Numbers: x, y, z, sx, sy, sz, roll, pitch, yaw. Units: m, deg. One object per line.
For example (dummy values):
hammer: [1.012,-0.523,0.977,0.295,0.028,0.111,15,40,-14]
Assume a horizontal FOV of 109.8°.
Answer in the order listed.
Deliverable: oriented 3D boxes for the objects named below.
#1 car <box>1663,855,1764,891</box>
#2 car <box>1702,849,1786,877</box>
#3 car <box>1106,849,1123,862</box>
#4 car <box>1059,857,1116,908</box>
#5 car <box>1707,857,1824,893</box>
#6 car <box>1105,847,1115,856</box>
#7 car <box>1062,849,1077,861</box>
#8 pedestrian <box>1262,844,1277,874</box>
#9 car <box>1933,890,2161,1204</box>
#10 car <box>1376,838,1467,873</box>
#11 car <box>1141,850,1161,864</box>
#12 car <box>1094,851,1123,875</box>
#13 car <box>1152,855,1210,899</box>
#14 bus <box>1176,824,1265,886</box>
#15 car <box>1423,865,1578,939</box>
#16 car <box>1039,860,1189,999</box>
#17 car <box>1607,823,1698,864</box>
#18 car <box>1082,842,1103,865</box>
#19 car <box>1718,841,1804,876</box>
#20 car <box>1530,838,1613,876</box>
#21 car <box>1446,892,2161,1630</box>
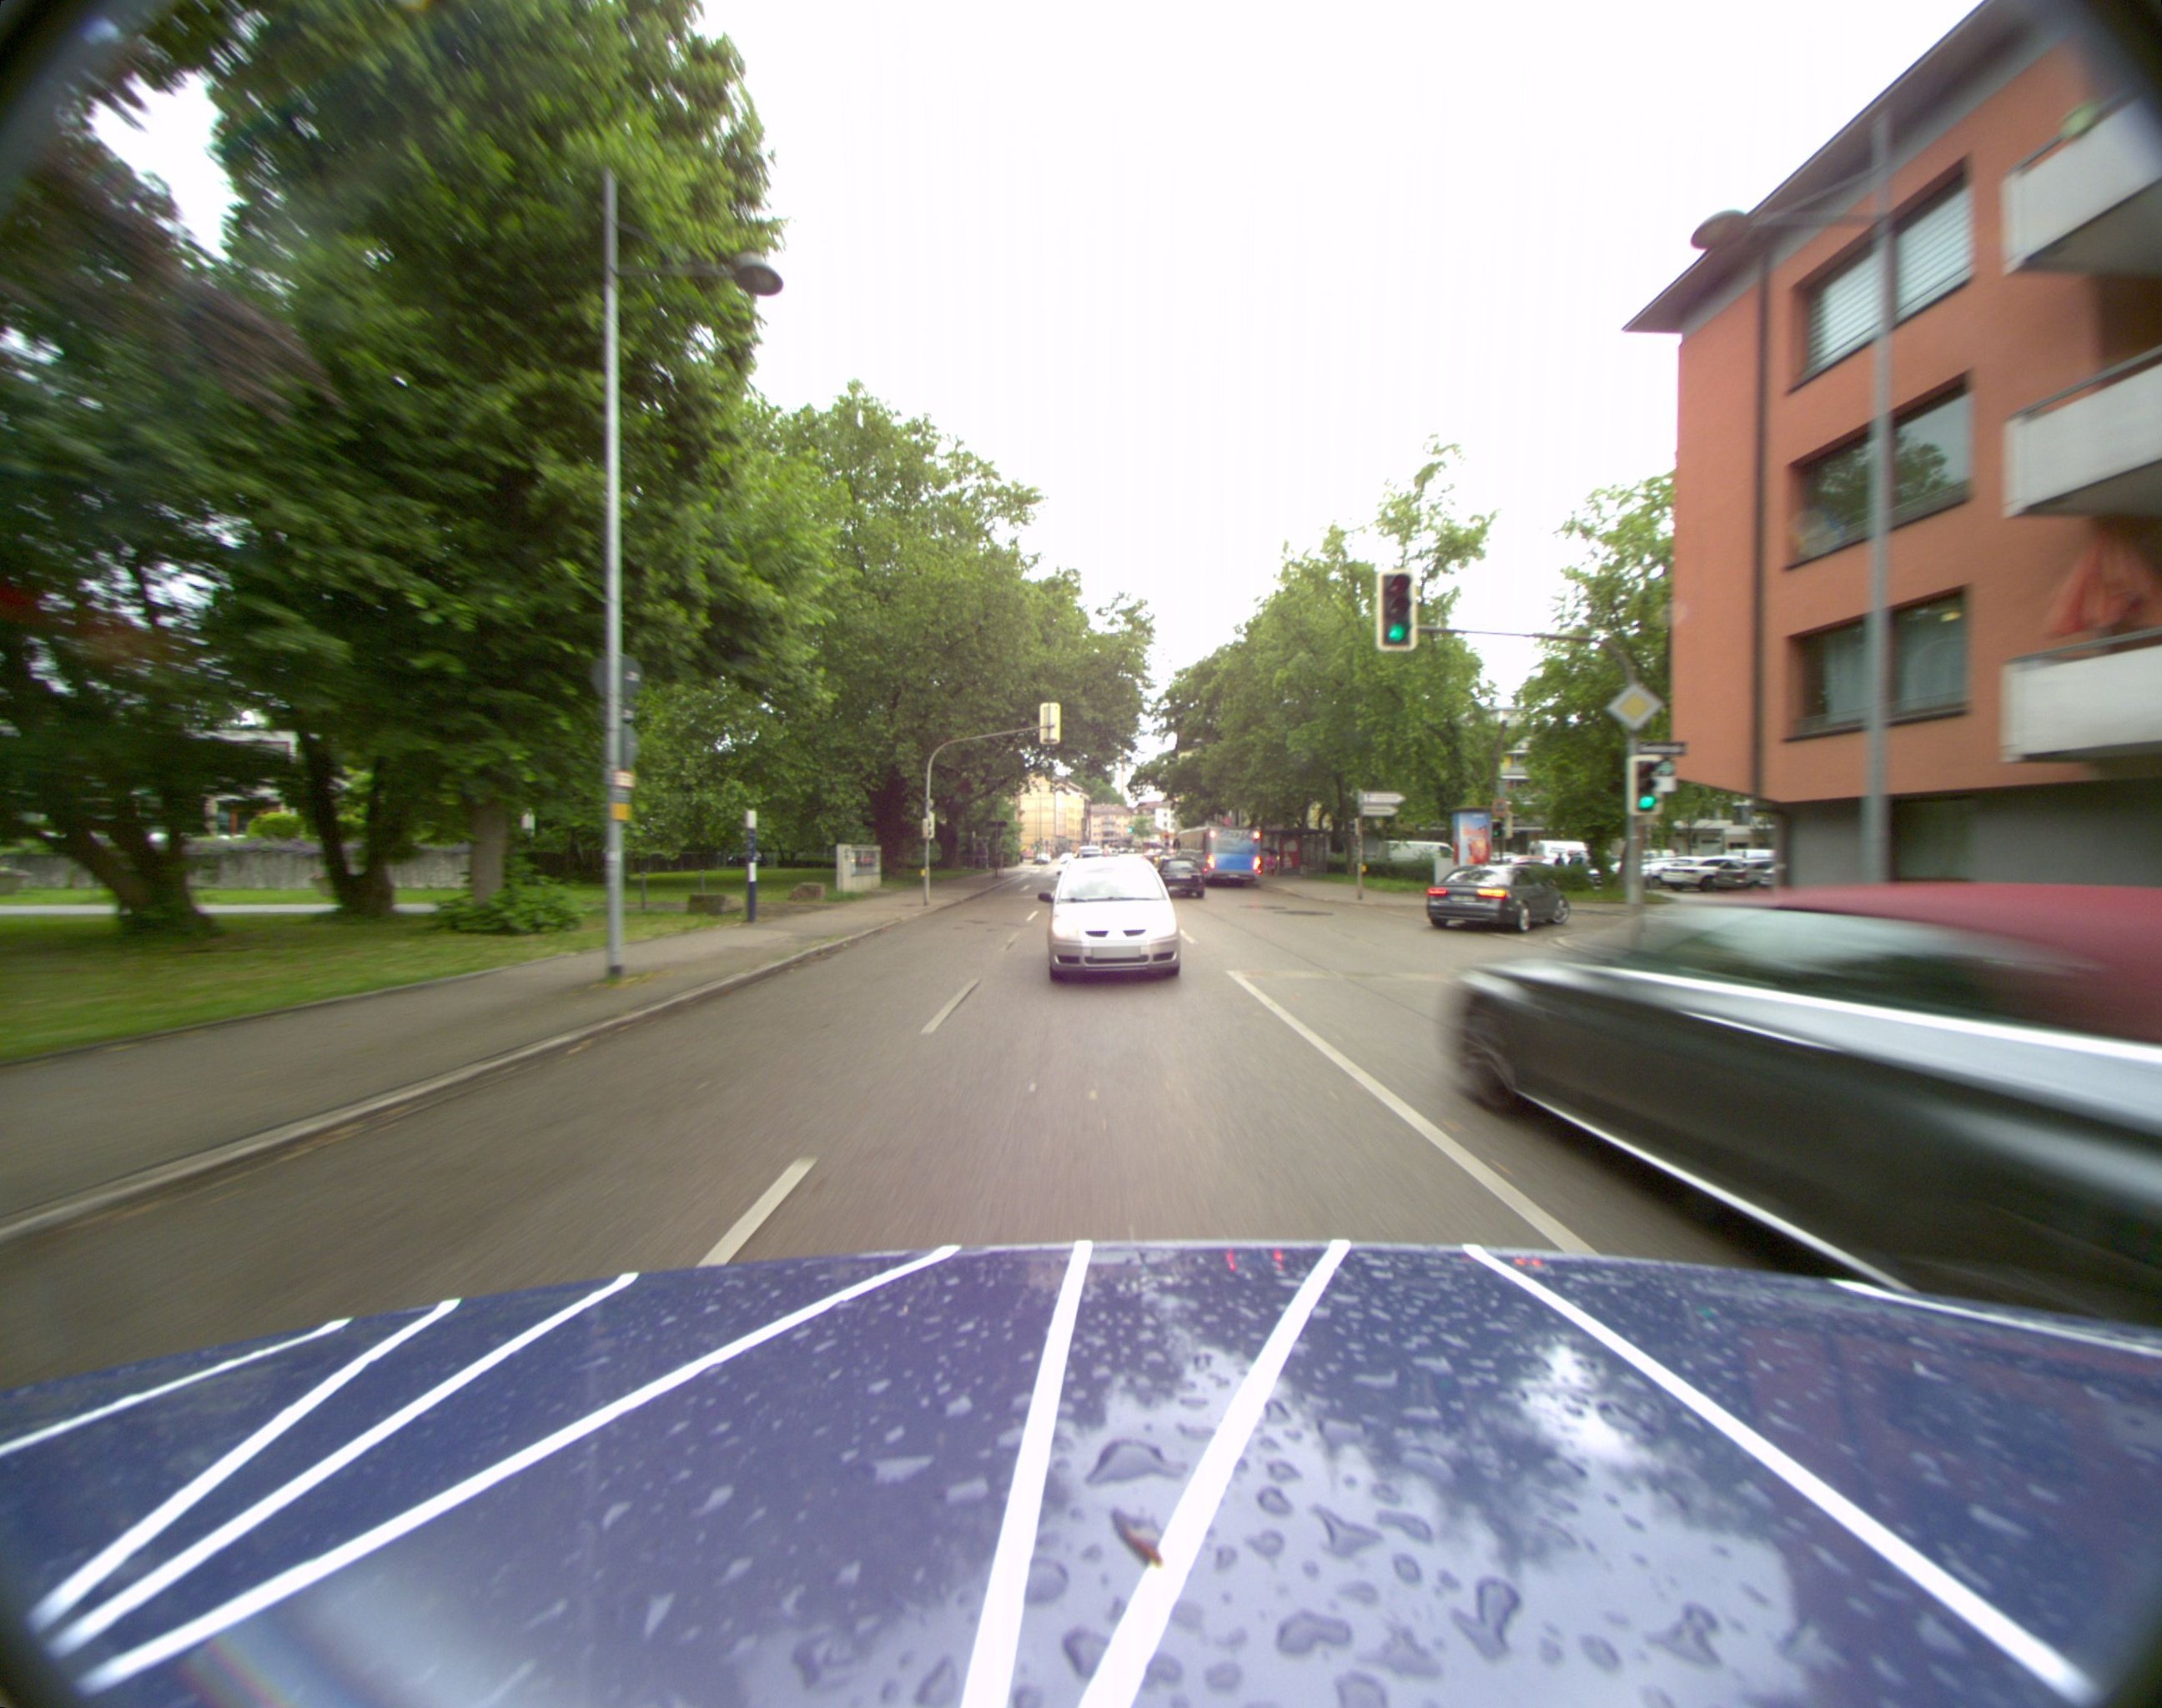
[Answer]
car: [29.805,0.880,35.840,3.745,1.654,1.701,0,0,-13]
car: [46.850,0.607,53.746,4.333,1.911,1.703,0,1,2]
car: [4.105,0.214,93.476,1.802,1.508,4.580,2,0,0]
car: [0.220,0.875,25.199,1.718,1.509,4.088,-1,0,0]
car: [30.271,0.895,33.653,3.828,1.529,1.702,0,0,-6]
car: [5.266,-0.479,137.969,1.906,1.538,3.999,0,1,1]
car: [-1.646,0.126,110.687,1.906,1.538,3.999,0,1,1]
pedestrian: [11.277,0.274,45.458,0.711,1.759,0.687,-3,1,1]
car: [6.111,0.980,2.736,1.691,1.483,3.890,1,0,0]
car: [19.166,0.105,42.893,4.334,1.911,1.702,0,1,-2]
car: [7.709,0.355,83.943,1.802,1.508,4.807,2,0,0]
car: [1.825,0.537,49.380,1.800,1.449,4.492,0,0,4]
car: [3.622,0.775,28.168,1.800,1.449,4.492,1,0,4]
bus: [7.320,-0.040,41.780,2.700,2.923,12.082,1,1,1]
car: [9.750,0.998,17.458,1.813,1.407,4.818,2,1,45]
car: [0.399,0.913,11.320,1.718,1.509,4.806,-2,0,0]
car: [37.328,-0.658,49.652,4.584,2.597,1.999,0,1,-6]
car: [1.150,-0.100,73.557,2.037,2.119,3.999,0,1,1]
car: [50.930,0.337,56.961,4.580,2.597,2.000,0,1,2]
car: [34.958,0.189,54.225,4.580,2.597,2.000,0,1,2]
car: [3.189,0.947,2.599,1.798,1.407,4.335,1,0,0]
